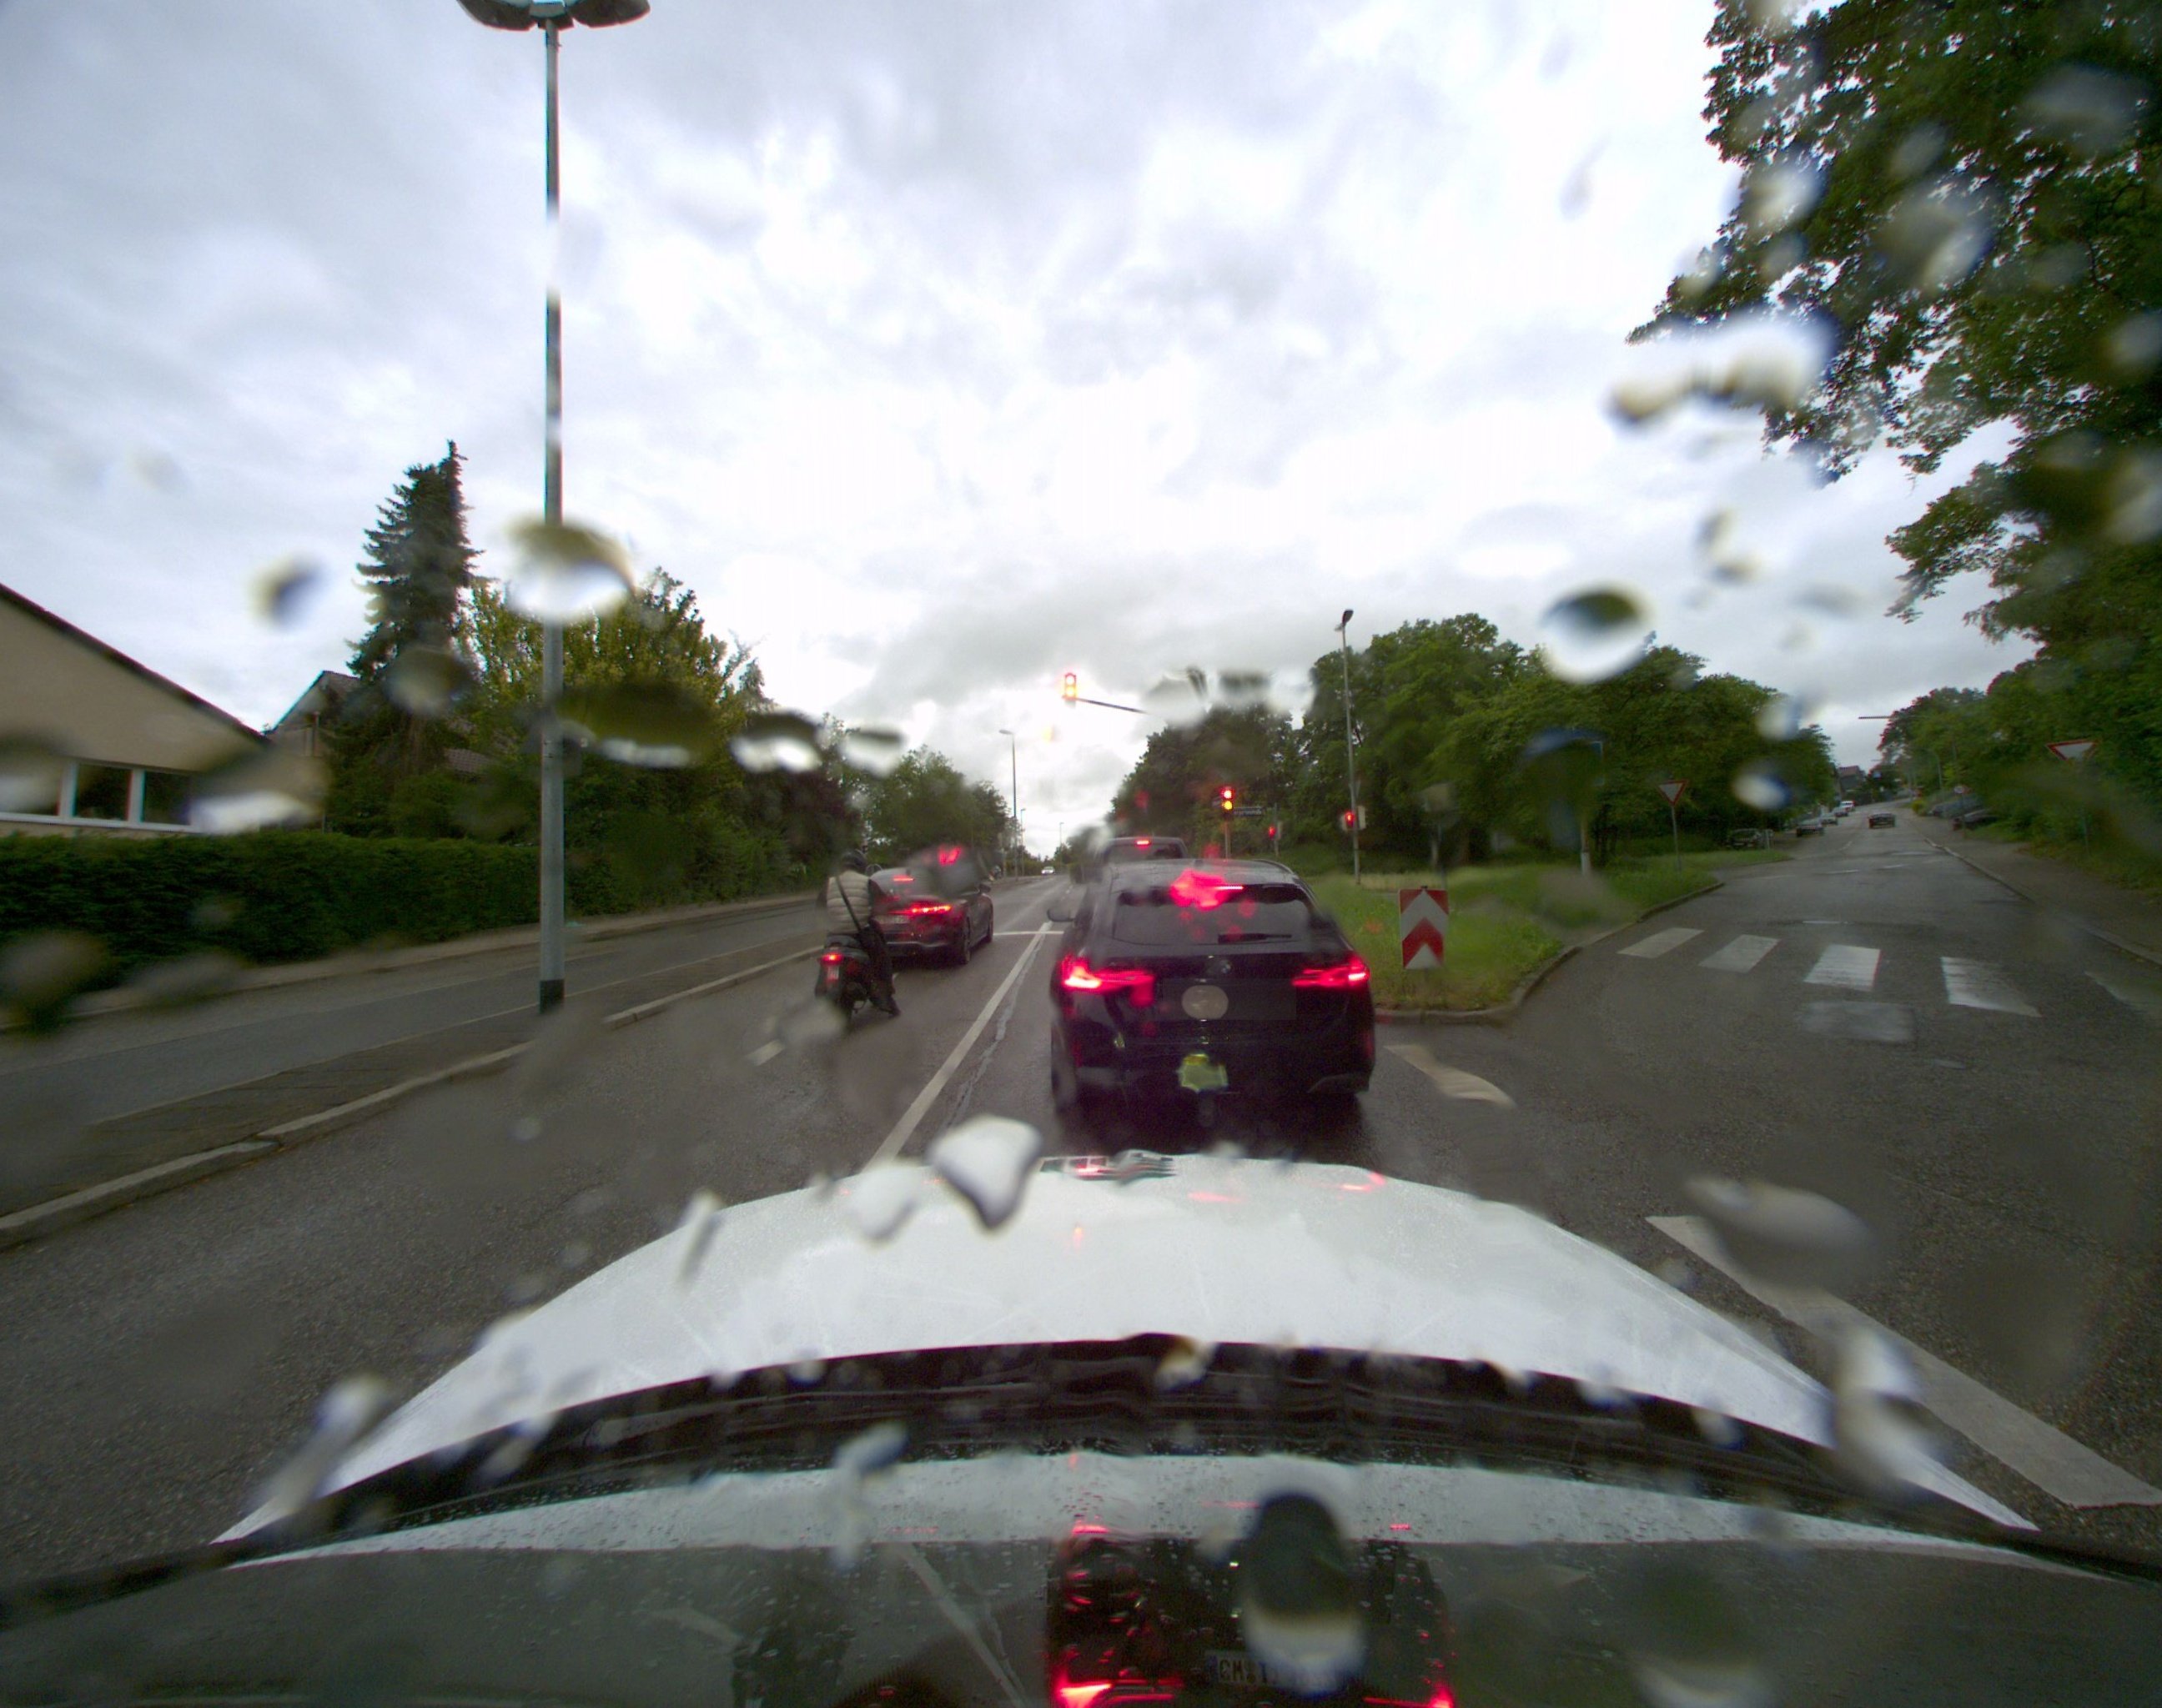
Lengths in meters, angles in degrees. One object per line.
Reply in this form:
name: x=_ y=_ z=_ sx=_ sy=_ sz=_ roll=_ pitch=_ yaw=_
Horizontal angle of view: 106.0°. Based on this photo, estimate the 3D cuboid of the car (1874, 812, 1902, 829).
car: x=77.696 y=-3.223 z=78.352 sx=4.187 sy=1.442 sz=1.795 roll=-4 pitch=1 yaw=-44

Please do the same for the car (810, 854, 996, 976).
car: x=-2.640 y=0.858 z=13.205 sx=1.987 sy=1.527 sz=4.326 roll=-4 pitch=-1 yaw=0

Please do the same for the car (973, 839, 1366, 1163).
car: x=0.632 y=0.760 z=6.282 sx=1.889 sy=1.551 sz=4.621 roll=-1 pitch=-1 yaw=5

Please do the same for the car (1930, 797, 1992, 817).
car: x=87.623 y=-4.703 z=81.162 sx=3.949 sy=1.574 sz=1.785 roll=-5 pitch=-1 yaw=42

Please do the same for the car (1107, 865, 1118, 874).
car: x=5.503 y=2.652 z=142.547 sx=1.691 sy=1.427 sz=3.515 roll=-4 pitch=-1 yaw=2

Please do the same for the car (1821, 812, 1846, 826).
car: x=88.216 y=-4.056 z=95.518 sx=1.971 sy=1.446 sz=4.321 roll=-2 pitch=-1 yaw=40

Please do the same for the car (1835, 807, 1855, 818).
car: x=114.511 y=-6.225 z=122.041 sx=1.880 sy=1.397 sz=4.193 roll=-2 pitch=-1 yaw=40

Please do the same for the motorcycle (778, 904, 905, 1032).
motorcycle: x=-2.299 y=1.058 z=8.035 sx=0.688 sy=1.053 sz=1.748 roll=-1 pitch=-2 yaw=2

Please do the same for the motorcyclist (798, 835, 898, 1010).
motorcyclist: x=-2.273 y=0.650 z=8.012 sx=0.762 sy=1.642 sz=0.674 roll=-1 pitch=-1 yaw=1

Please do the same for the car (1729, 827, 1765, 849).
car: x=46.028 y=-1.135 z=56.274 sx=1.655 sy=1.370 sz=3.512 roll=-3 pitch=0 yaw=43

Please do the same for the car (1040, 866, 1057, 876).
car: x=-5.304 y=2.781 z=134.193 sx=1.982 sy=1.611 sz=3.680 roll=-4 pitch=-1 yaw=9

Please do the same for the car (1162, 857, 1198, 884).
car: x=6.337 y=1.025 z=52.416 sx=1.866 sy=1.543 sz=3.954 roll=-4 pitch=-1 yaw=2

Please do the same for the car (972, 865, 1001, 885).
car: x=-9.426 y=2.124 z=81.849 sx=1.984 sy=1.826 sz=4.006 roll=-4 pitch=-1 yaw=6

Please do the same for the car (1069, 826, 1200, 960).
car: x=0.836 y=0.572 z=13.461 sx=1.811 sy=1.868 sz=3.954 roll=-1 pitch=-1 yaw=2

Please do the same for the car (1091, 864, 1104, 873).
car: x=3.490 y=3.038 z=173.304 sx=2.094 sy=1.765 sz=4.879 roll=-4 pitch=-1 yaw=9

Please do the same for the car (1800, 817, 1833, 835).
car: x=66.283 y=-2.527 z=73.390 sx=4.318 sy=1.450 sz=1.881 roll=0 pitch=-1 yaw=-44
